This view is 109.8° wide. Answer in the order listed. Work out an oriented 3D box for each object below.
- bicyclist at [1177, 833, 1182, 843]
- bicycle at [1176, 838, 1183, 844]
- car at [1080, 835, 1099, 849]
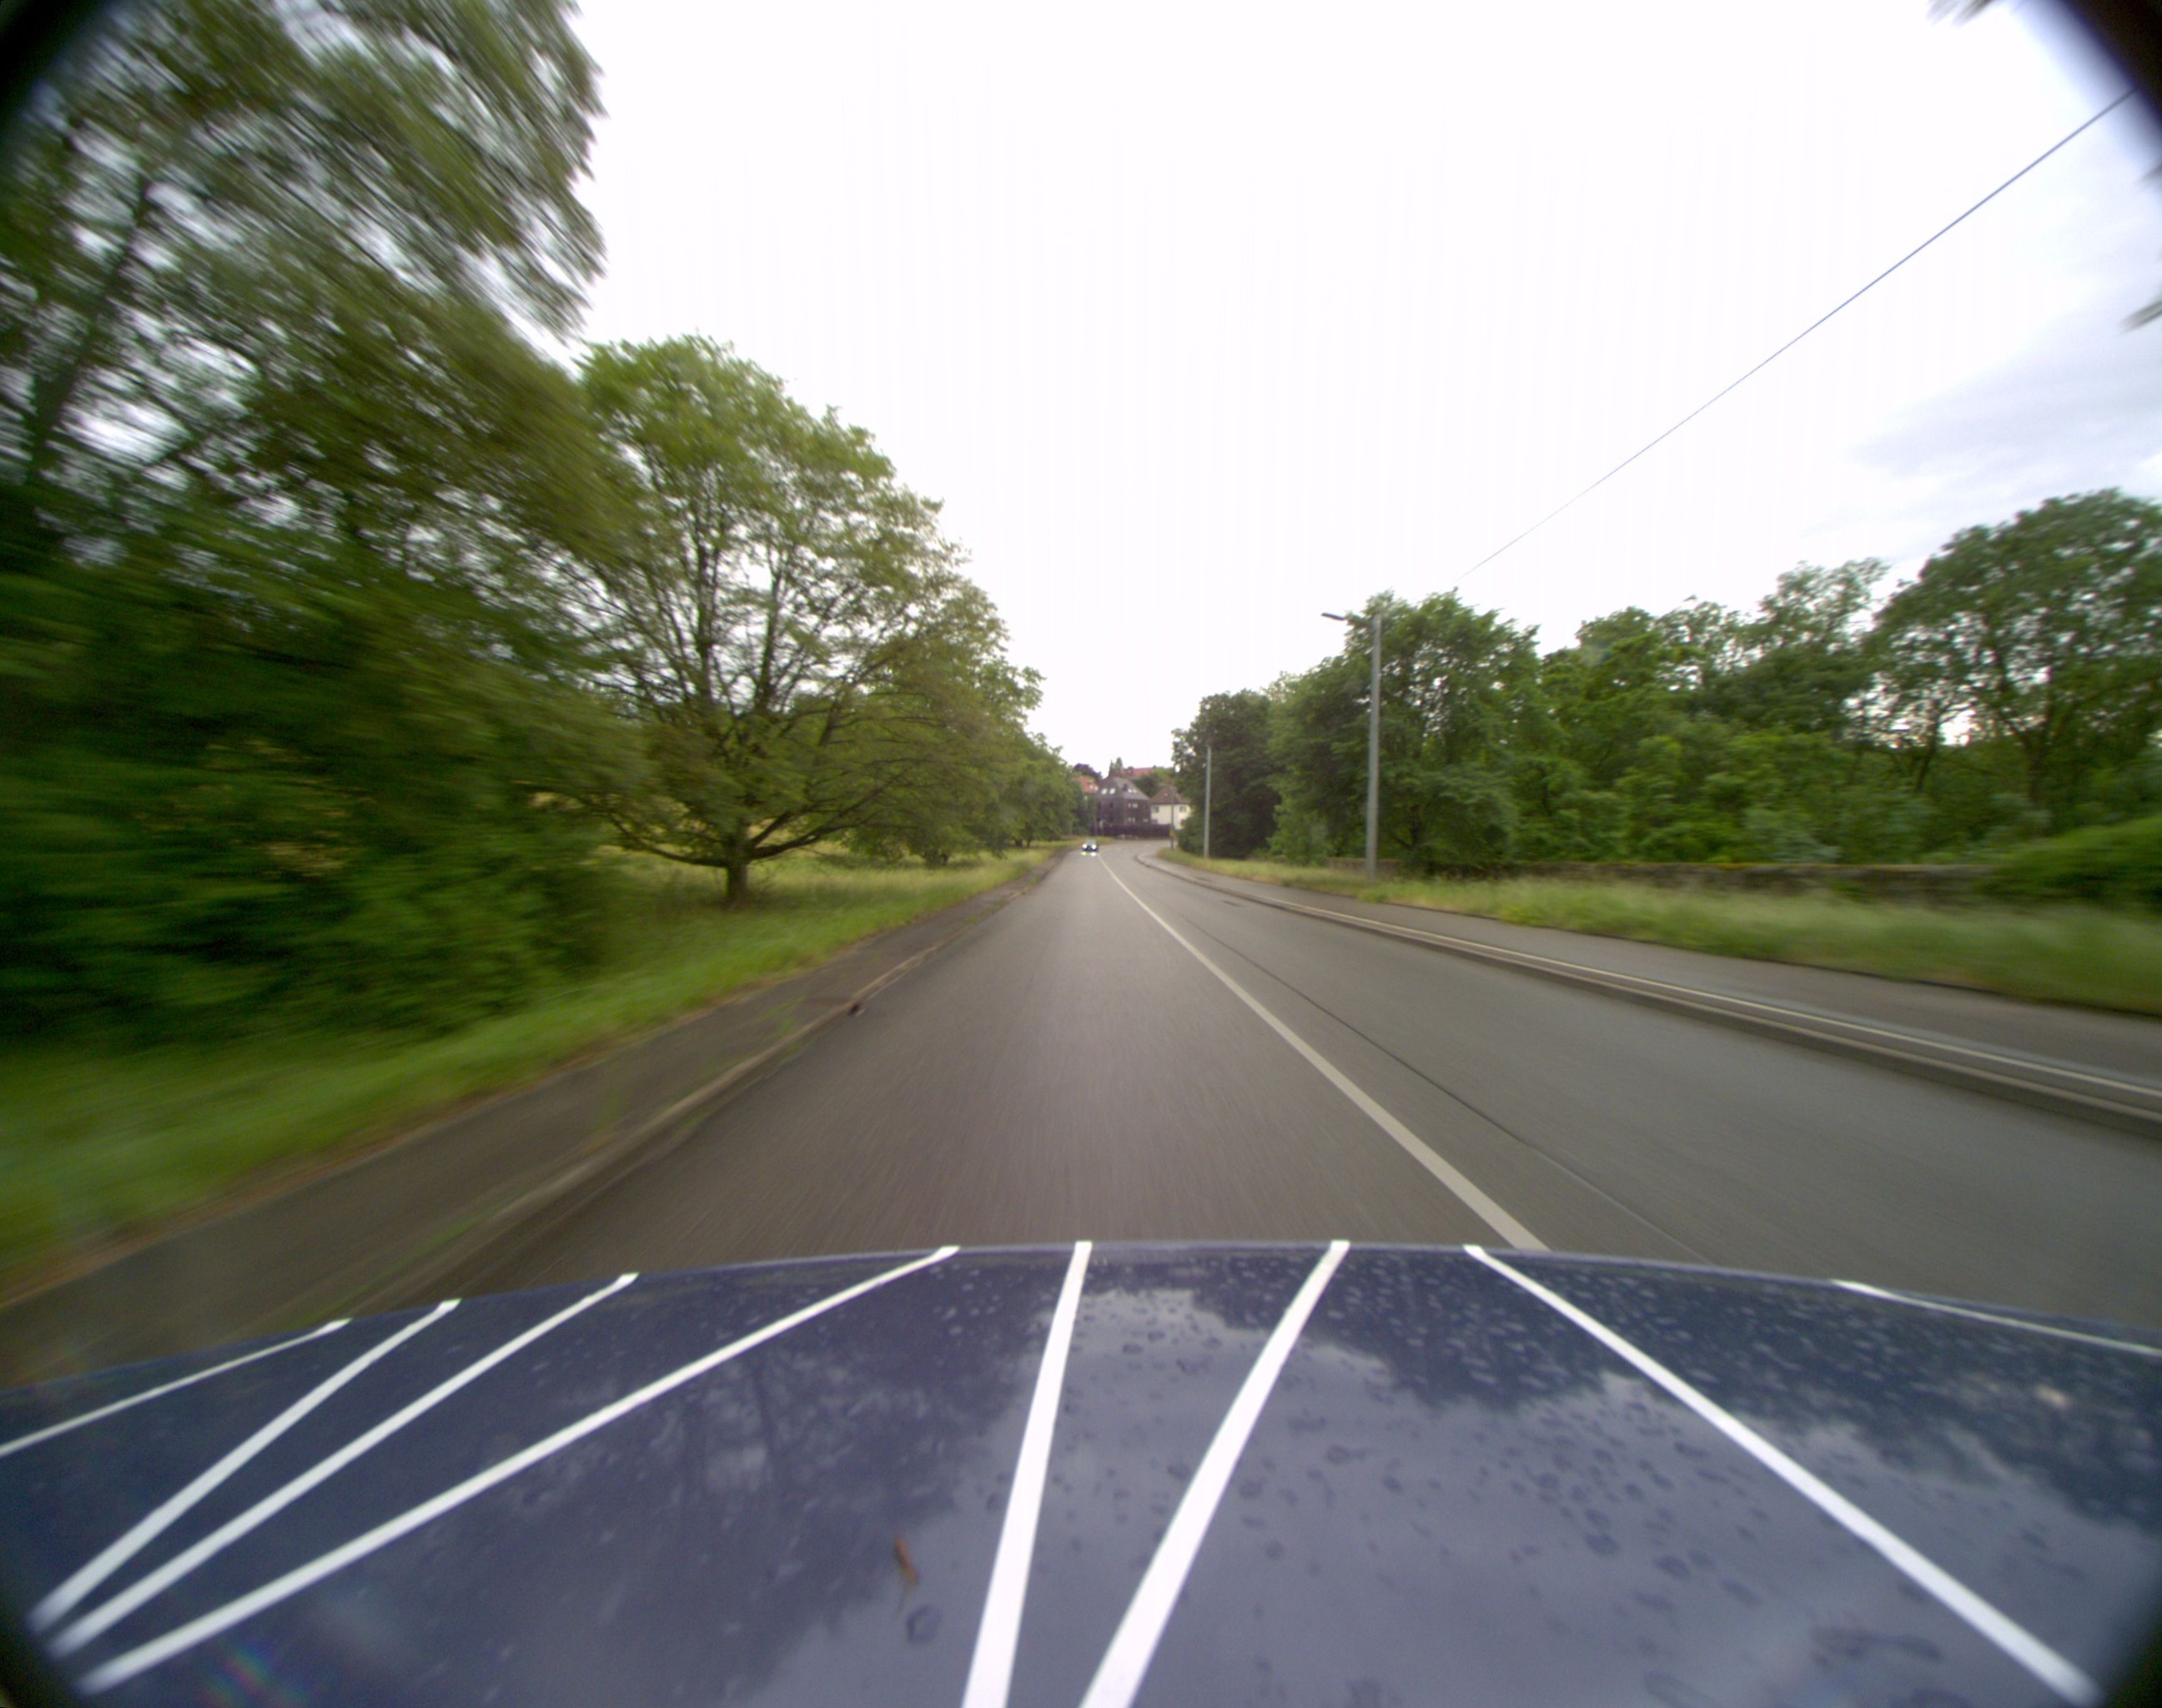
[{"bbox_3d":[15.243,-2.530,117.705,0.709,1.547,1.171,-1,2,12],"label":"bicyclist"},{"bbox_3d":[15.280,-2.012,117.875,0.725,0.936,2.552,-1,2,13],"label":"bicycle"},{"bbox_3d":[1.173,-1.623,99.174,1.997,1.707,4.001,-1,2,7],"label":"car"}]
